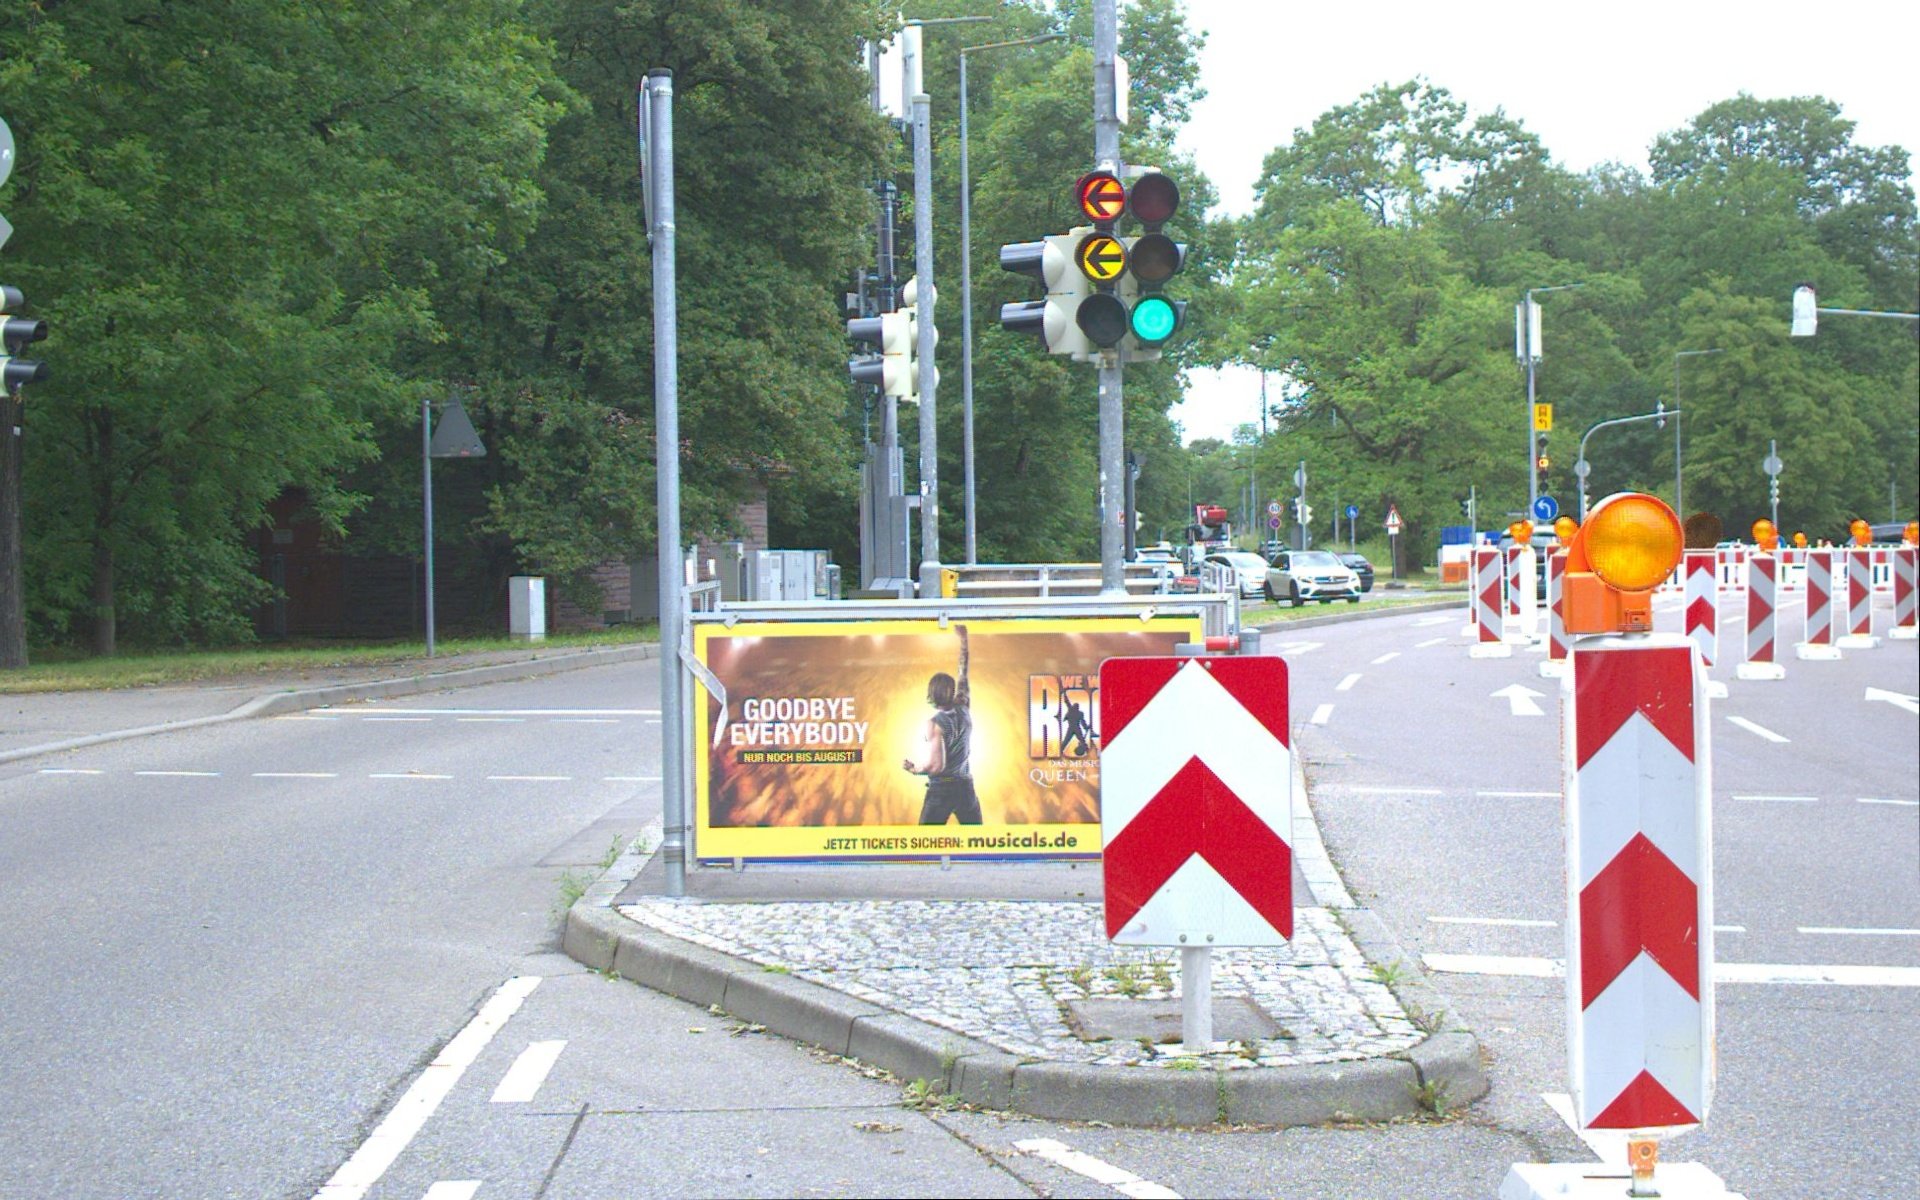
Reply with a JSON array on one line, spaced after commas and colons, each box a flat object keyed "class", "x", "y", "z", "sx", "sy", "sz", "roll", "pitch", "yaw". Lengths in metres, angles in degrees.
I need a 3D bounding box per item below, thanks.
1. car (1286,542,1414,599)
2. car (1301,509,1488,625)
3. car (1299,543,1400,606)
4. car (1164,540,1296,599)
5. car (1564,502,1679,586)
[{"class": "car", "x": 13.284, "y": -1.004, "z": 117.303, "sx": 1.994, "sy": 1.875, "sz": 3.998, "roll": 0, "pitch": 1, "yaw": -43}, {"class": "car", "x": 6.805, "y": -0.511, "z": 53.495, "sx": 1.996, "sy": 1.711, "sz": 3.996, "roll": 1, "pitch": 1, "yaw": 21}, {"class": "car", "x": 11.160, "y": -0.723, "z": 98.192, "sx": 1.995, "sy": 1.744, "sz": 4.575, "roll": 1, "pitch": 1, "yaw": 18}, {"class": "car", "x": 8.840, "y": -1.018, "z": 112.565, "sx": 1.994, "sy": 1.875, "sz": 3.998, "roll": 0, "pitch": 1, "yaw": -43}, {"class": "car", "x": 14.153, "y": -1.186, "z": 73.392, "sx": 1.798, "sy": 1.732, "sz": 3.699, "roll": 1, "pitch": 1, "yaw": 21}]
